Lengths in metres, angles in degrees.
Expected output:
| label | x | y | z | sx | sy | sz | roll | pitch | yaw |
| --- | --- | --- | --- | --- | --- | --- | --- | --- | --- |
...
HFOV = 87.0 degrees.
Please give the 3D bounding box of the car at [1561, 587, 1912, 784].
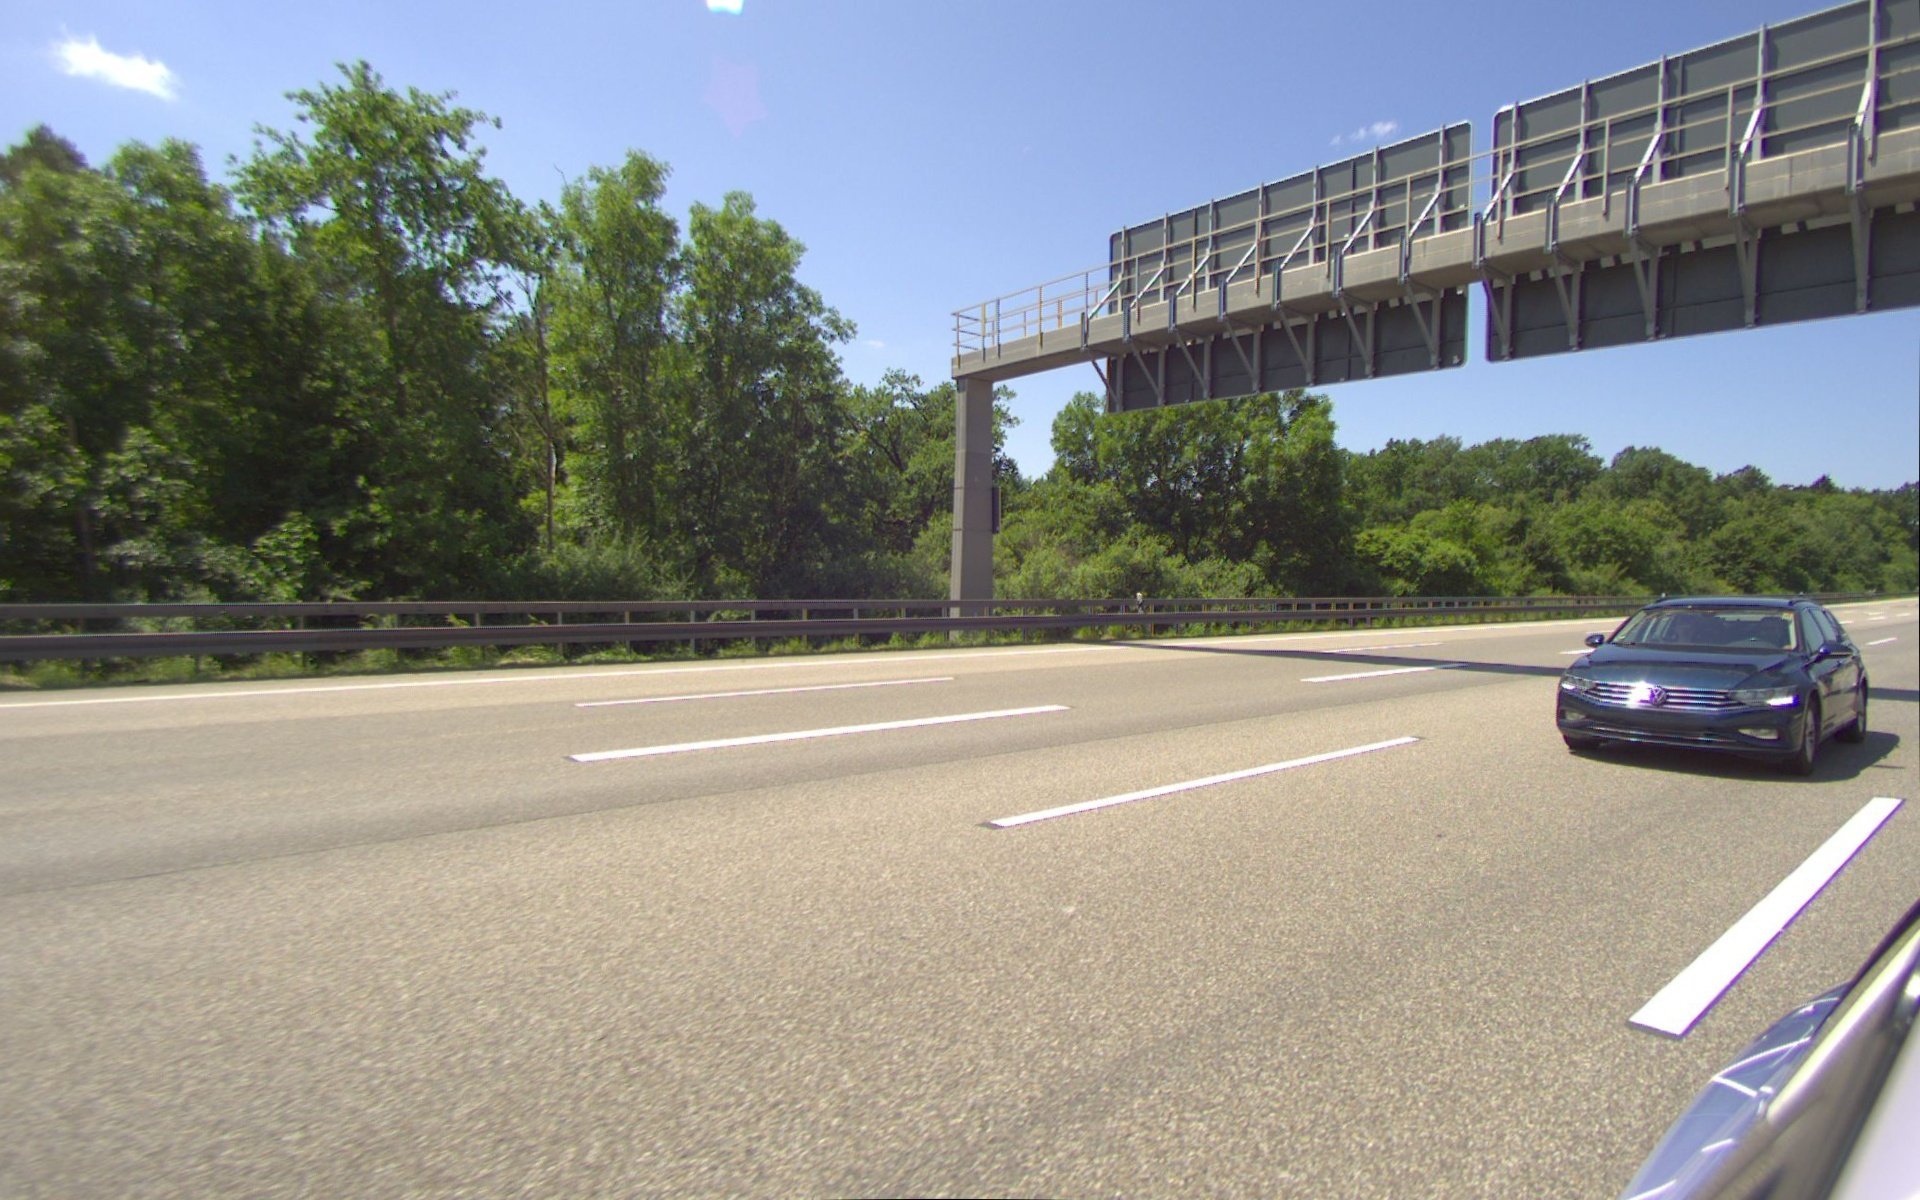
| label | x | y | z | sx | sy | sz | roll | pitch | yaw |
| --- | --- | --- | --- | --- | --- | --- | --- | --- | --- |
| car | 7.716 | 0.611 | 9.851 | 4.874 | 1.465 | 1.733 | -1 | 1 | -40 |
